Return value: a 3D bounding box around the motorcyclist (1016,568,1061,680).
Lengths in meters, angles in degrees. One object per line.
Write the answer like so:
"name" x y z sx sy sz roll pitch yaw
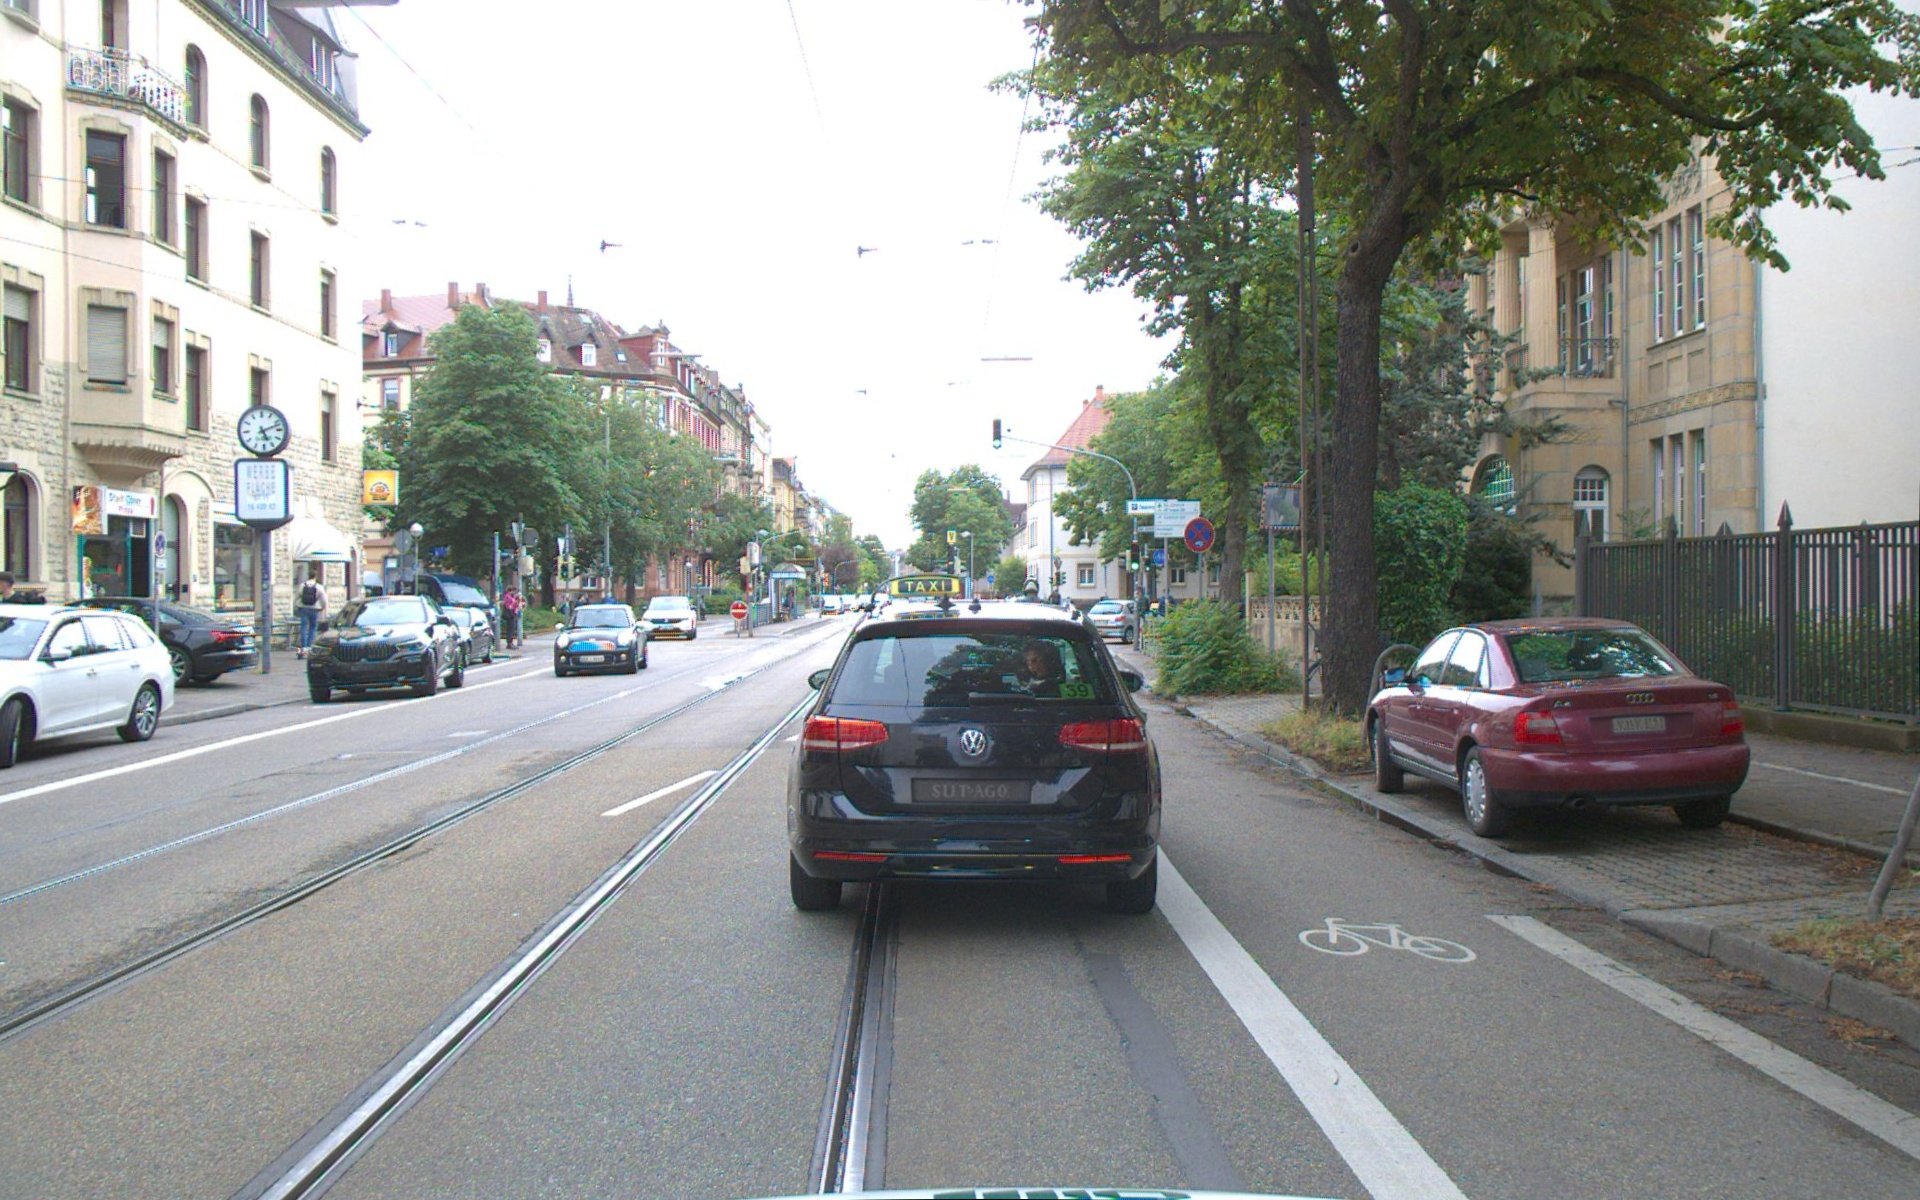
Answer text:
"motorcyclist" 1.225 0.368 25.907 0.688 1.722 0.804 0 0 2

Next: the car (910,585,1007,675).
"car" -0.070 0.524 31.005 1.688 1.573 3.999 0 0 -1

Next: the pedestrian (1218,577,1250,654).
"pedestrian" 6.637 0.360 40.060 0.619 1.846 0.725 0 0 -4

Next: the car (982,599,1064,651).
"car" 1.894 0.707 48.376 1.851 1.432 4.004 -1 0 10

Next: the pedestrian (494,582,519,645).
"pedestrian" -13.591 0.415 49.596 0.610 1.875 0.609 0 0 -4

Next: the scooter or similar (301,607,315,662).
"scooter or similar" -15.118 0.797 38.343 0.227 1.256 0.948 0 0 -17

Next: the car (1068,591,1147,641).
"car" 5.046 0.546 56.104 1.951 1.605 4.002 1 -1 16

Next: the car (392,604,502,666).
"car" -12.675 0.825 41.119 1.616 1.385 4.127 2 0 -4

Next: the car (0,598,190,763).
"car" -9.792 0.752 17.020 1.712 1.510 4.607 0 0 -2

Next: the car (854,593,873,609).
"car" -9.405 0.104 160.914 1.686 1.490 3.862 0 0 -2

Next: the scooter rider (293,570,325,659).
"scooter rider" -15.113 0.335 38.392 0.632 2.049 0.754 0 0 -18

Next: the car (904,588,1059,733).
"car" 0.196 0.654 20.044 1.688 1.573 3.999 0 0 -1

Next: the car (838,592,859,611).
"car" -9.666 0.096 144.011 1.686 1.651 3.862 0 0 -2

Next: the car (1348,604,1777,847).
"car" 4.243 0.781 12.391 1.570 1.423 4.226 -2 0 -1

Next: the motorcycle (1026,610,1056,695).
"motorcycle" 1.255 0.788 25.823 0.437 1.257 1.907 0 0 2

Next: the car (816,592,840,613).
"car" -10.302 0.173 129.011 1.686 1.651 3.862 0 0 -2

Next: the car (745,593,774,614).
"car" -16.094 0.296 132.780 1.953 1.624 3.999 -1 0 -1

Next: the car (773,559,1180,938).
"car" 0.033 0.612 8.889 1.688 1.573 3.999 0 0 -1

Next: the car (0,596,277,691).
"car" -14.272 0.723 28.313 4.340 1.394 1.878 2 0 -6

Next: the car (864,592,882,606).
"car" -10.455 -0.154 198.964 1.758 1.624 4.001 0 0 1

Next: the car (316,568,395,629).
"car" -26.434 -0.071 72.186 2.159 2.571 5.319 0 0 -33

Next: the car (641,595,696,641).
"car" -10.316 0.618 58.742 1.666 1.522 3.925 -1 0 -6

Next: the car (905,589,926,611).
"car" -4.317 0.002 162.515 1.991 2.049 3.999 1 -1 -1

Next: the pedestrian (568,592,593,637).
"pedestrian" -14.422 0.546 62.849 0.819 1.692 0.591 0 0 0

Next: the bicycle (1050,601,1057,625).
"bicycle" 4.874 0.687 86.456 0.291 1.244 1.431 0 0 6

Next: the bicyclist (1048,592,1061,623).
"bicyclist" 4.919 0.402 86.514 0.637 1.596 0.696 0 0 6

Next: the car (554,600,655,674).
"car" -7.451 0.738 34.906 1.577 1.447 3.483 -1 0 -4

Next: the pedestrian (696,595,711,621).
"pedestrian" -15.594 0.478 100.565 0.577 1.547 0.647 0 0 34

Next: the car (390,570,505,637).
"car" -19.724 0.125 63.525 2.168 2.460 5.295 0 0 -43

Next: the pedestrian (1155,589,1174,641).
"pedestrian" 7.461 0.528 60.339 0.503 1.863 0.418 -3 0 15

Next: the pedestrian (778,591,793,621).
"pedestrian" -9.128 0.297 86.557 0.699 1.547 0.590 0 0 0

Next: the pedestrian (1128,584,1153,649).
"pedestrian" 5.261 0.476 48.156 0.573 1.863 0.604 -3 0 0

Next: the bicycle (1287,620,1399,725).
"bicycle" 4.677 0.860 20.099 0.426 1.219 1.891 0 -1 43

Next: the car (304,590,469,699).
"car" -9.801 0.706 28.637 1.849 1.640 4.876 -3 0 -10

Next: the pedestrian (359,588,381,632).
"pedestrian" -23.868 0.405 66.930 0.694 1.745 0.544 0 0 -41

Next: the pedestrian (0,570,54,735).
"pedestrian" -11.118 0.601 19.253 0.654 1.876 0.882 -1 0 -2
